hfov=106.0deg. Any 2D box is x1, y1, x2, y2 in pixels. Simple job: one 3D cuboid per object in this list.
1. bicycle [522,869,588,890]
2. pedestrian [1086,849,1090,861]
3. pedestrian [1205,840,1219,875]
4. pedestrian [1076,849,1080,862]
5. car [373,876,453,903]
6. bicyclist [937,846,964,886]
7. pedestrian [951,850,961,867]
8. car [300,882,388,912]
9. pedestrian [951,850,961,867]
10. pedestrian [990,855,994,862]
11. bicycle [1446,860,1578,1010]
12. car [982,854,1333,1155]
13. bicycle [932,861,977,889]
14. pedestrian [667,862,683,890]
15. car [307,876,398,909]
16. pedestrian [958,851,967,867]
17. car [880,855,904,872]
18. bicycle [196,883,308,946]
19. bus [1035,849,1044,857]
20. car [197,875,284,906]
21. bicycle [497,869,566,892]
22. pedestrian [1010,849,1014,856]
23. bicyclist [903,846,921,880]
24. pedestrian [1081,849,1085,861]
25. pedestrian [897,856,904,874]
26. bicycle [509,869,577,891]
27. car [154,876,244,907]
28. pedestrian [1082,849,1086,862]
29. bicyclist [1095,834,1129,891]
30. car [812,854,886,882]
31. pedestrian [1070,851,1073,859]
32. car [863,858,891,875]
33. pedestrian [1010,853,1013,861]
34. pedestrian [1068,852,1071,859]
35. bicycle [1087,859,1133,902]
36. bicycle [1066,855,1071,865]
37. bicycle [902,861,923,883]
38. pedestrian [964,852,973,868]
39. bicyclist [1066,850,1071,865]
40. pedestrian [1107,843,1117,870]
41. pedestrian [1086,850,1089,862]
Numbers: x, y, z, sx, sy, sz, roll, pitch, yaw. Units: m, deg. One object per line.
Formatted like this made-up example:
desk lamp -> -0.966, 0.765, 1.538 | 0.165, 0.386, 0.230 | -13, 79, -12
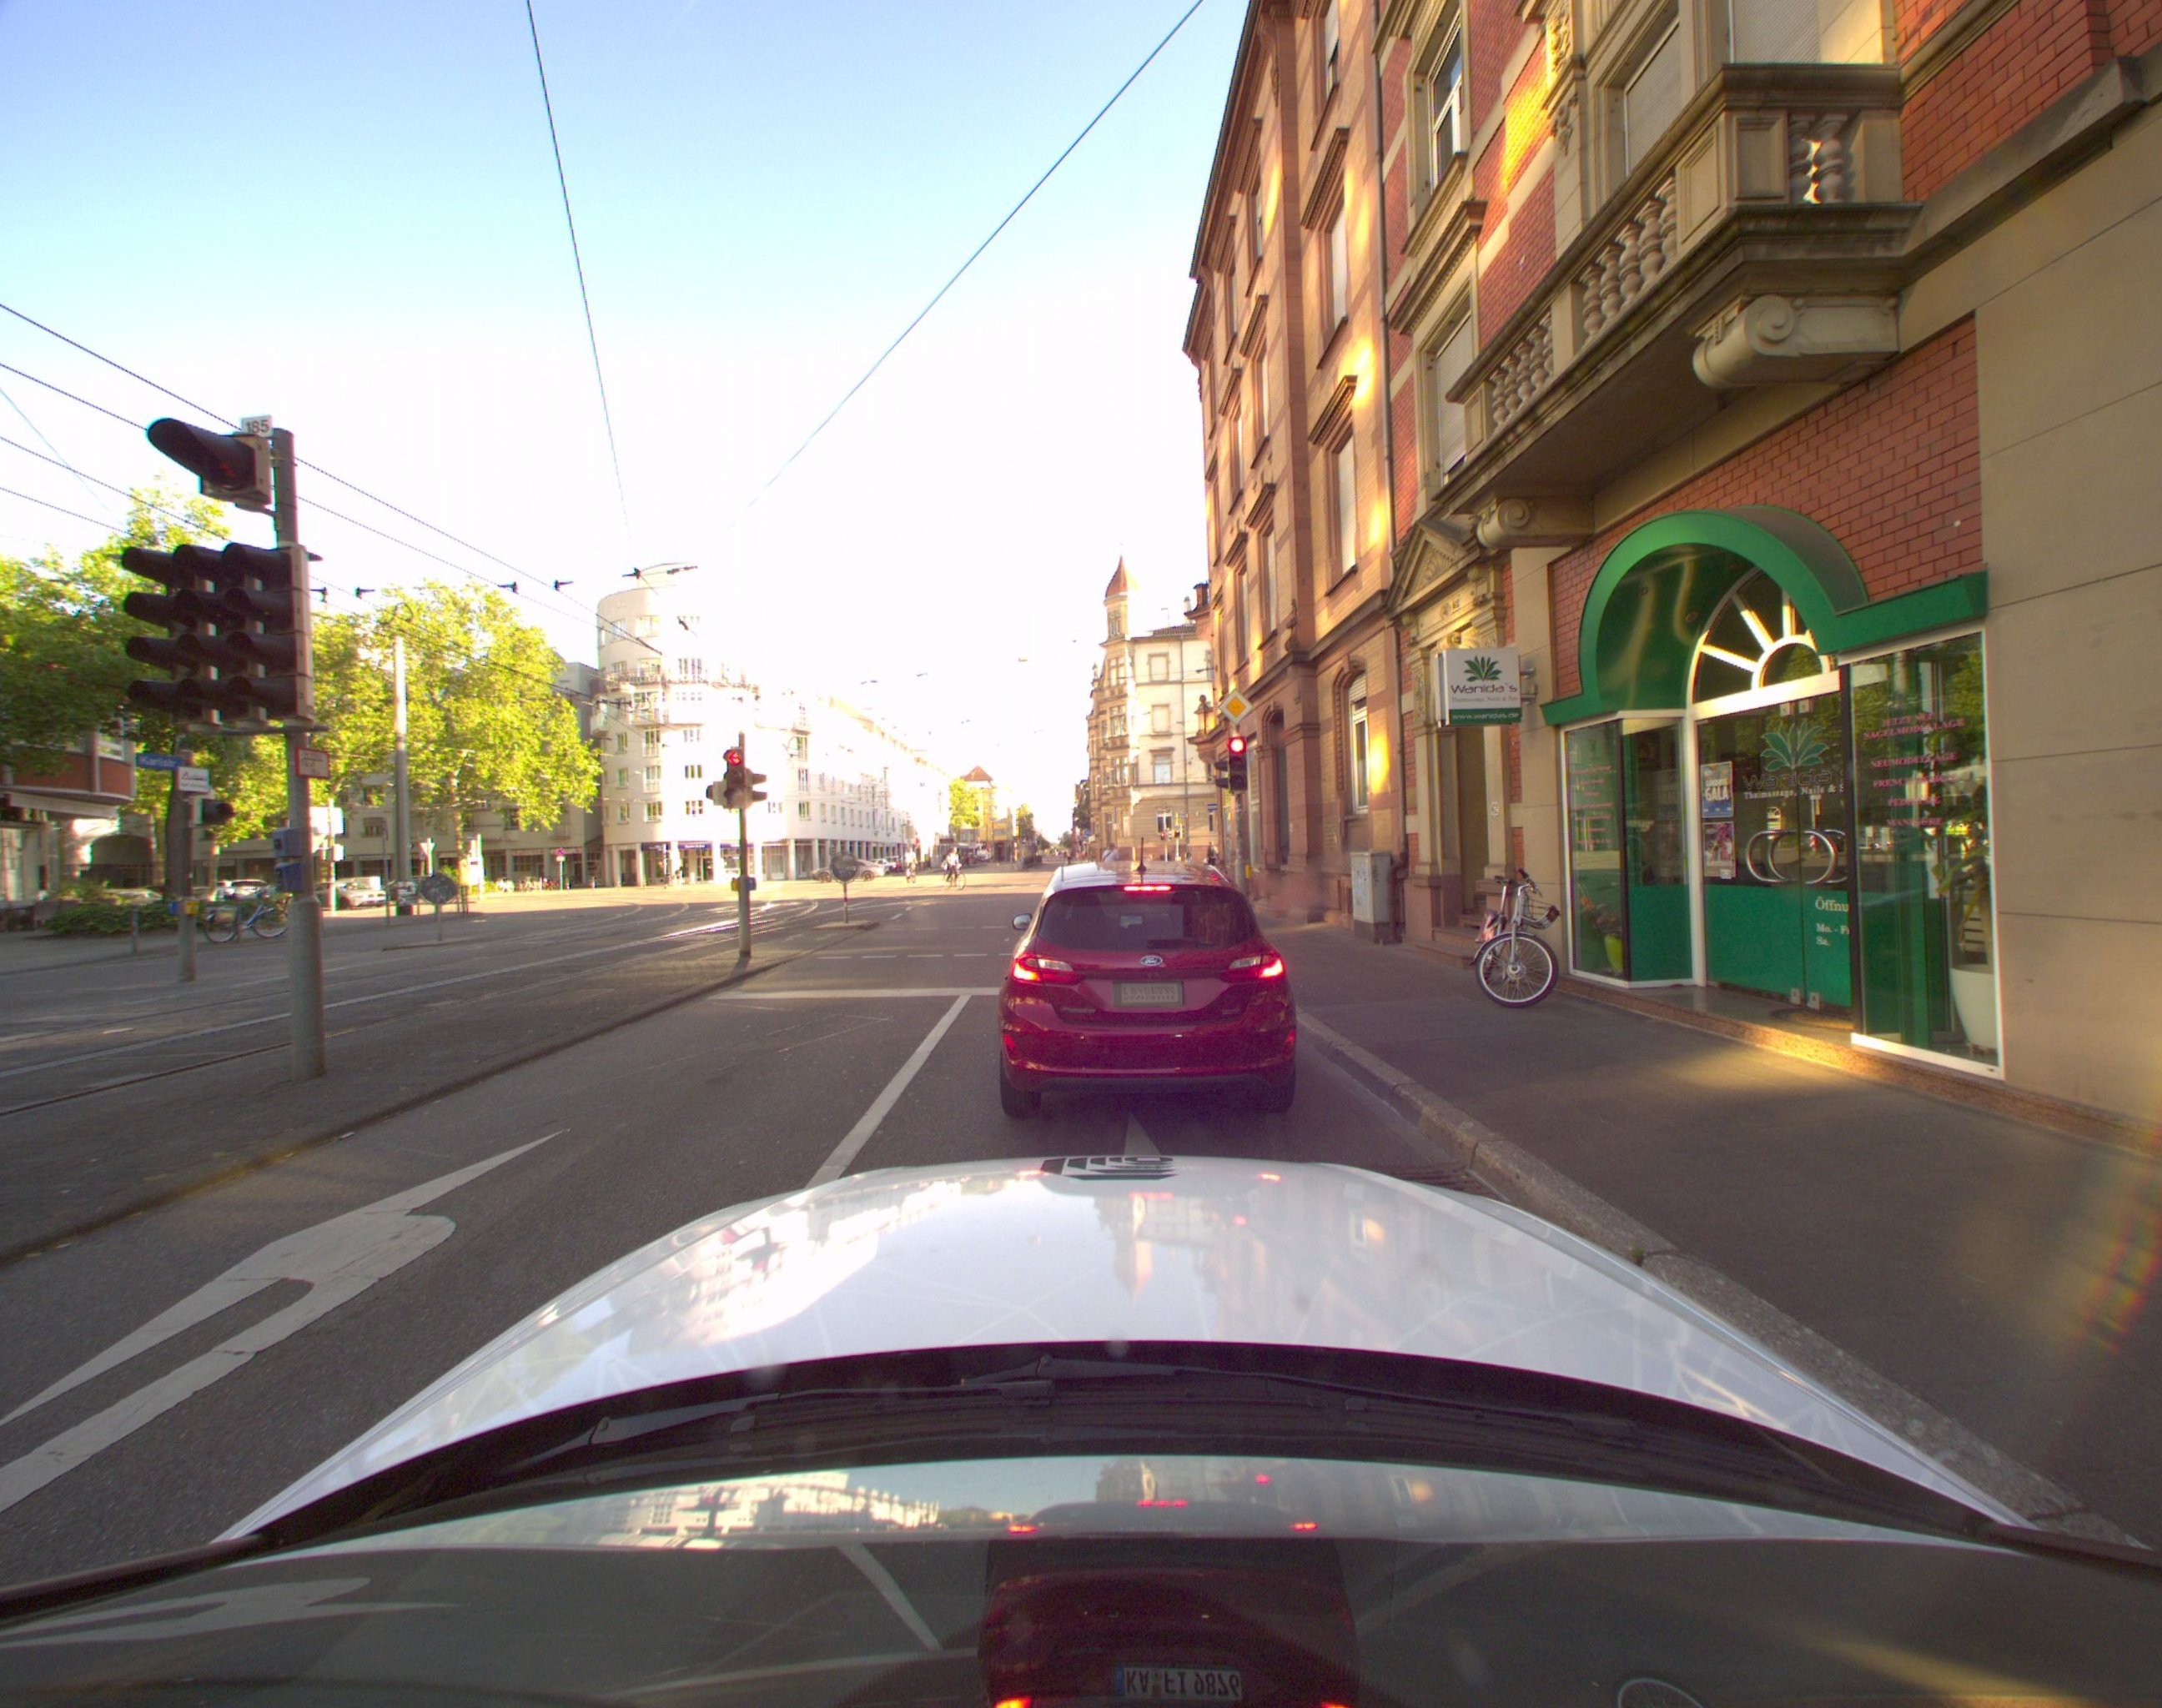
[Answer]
bicycle -> -42.856, 2.061, 66.428 | 4.685, 1.530, 1.067 | -2, 0, 2
pedestrian -> 1.155, 0.183, 134.632 | 0.574, 2.013, 0.632 | -2, 0, 5
pedestrian -> 6.608, 0.172, 41.134 | 0.558, 1.755, 0.650 | -3, 0, 1
pedestrian -> -0.525, 0.255, 136.298 | 0.574, 2.013, 0.632 | -2, 0, 5
car -> -44.185, 2.324, 53.923 | 3.969, 1.531, 1.618 | -2, 0, 4
bicyclist -> -5.647, 0.518, 35.234 | 0.784, 1.726, 0.815 | -2, 0, 42
pedestrian -> -15.549, 0.571, 101.120 | 0.953, 2.013, 1.048 | -2, 0, -1
car -> -36.926, 2.155, 40.806 | 3.968, 1.295, 1.781 | -2, 0, 24
pedestrian -> -15.854, 0.574, 103.442 | 1.043, 2.013, 0.958 | -2, 0, -3
pedestrian -> -18.041, 0.869, 164.948 | 0.579, 1.488, 0.525 | -2, 0, -3
bicycle -> 3.868, 0.677, 7.442 | 0.710, 1.152, 1.662 | -4, 0, 17
car -> 0.307, 0.741, 6.037 | 1.750, 1.466, 3.941 | -1, 0, -3
bicycle -> -5.470, 0.918, 35.098 | 2.023, 1.147, 0.815 | -2, 0, 43
pedestrian -> -29.746, 1.603, 59.649 | 0.949, 2.013, 0.931 | -2, 0, -29
car -> -40.248, 2.121, 45.039 | 3.978, 1.559, 1.636 | -2, 0, 11
pedestrian -> -15.320, 0.641, 105.581 | 1.043, 2.013, 0.958 | -2, 0, -3
car -> -20.426, 1.028, 88.098 | 1.696, 1.718, 3.562 | -2, 0, -1
bicycle -> -19.757, 1.411, 19.466 | 0.668, 1.327, 1.907 | 1, 0, 2
bus -> -11.084, -0.324, 217.635 | 1.919, 2.013, 7.137 | -2, 0, 1
car -> -60.411, 2.602, 58.603 | 1.986, 1.964, 4.001 | -2, 0, 1
bicycle -> -43.013, 2.071, 63.739 | 4.685, 1.530, 1.067 | -2, 0, 2
pedestrian -> -16.755, -0.325, 197.483 | 0.630, 1.604, 0.575 | -2, 0, -18
bicyclist -> -9.461, 0.510, 45.593 | 0.810, 1.821, 0.986 | -2, 0, -21
pedestrian -> 0.279, 0.205, 136.352 | 0.574, 2.013, 0.632 | -2, 0, 5
pedestrian -> -16.450, 0.994, 74.157 | 0.524, 1.681, 0.484 | -2, 0, -8
bicycle -> -42.852, 2.052, 64.876 | 4.685, 1.530, 1.067 | -2, 0, 2
car -> -63.330, 2.693, 58.587 | 1.986, 1.964, 4.001 | -2, 0, 1
pedestrian -> 0.504, 0.211, 131.148 | 0.574, 2.013, 0.632 | -2, 0, 5
bicyclist -> 0.893, 0.249, 23.715 | 0.756, 1.627, 0.736 | -1, -1, 23
car -> -15.230, 0.909, 53.666 | 4.445, 1.641, 1.698 | -2, 0, -11
pedestrian -> -2.320, 0.270, 200.785 | 0.575, 1.887, 0.630 | -2, 0, -1
car -> -20.158, 1.222, 80.569 | 1.760, 1.546, 3.460 | -2, 0, 0
pedestrian -> -13.863, 0.606, 162.184 | 0.522, 1.488, 0.583 | -2, 0, 1
pedestrian -> -2.826, 0.347, 204.124 | 0.575, 1.887, 0.669 | -2, 0, -1
bicycle -> 0.877, 0.750, 23.667 | 0.621, 1.177, 2.036 | -1, 0, 23
bicycle -> -1.489, 0.701, 96.825 | 0.524, 1.089, 1.487 | -2, 0, 1
bicycle -> -9.495, 0.988, 45.752 | 0.810, 1.147, 1.996 | -2, 0, -20
pedestrian -> -14.266, 0.723, 103.189 | 1.043, 2.013, 0.958 | -2, 0, -3
bicyclist -> -1.517, 0.408, 96.665 | 0.498, 1.676, 0.545 | -2, 0, 0
pedestrian -> 2.434, 0.204, 63.193 | 0.649, 2.013, 0.759 | -2, 0, -2
pedestrian -> 1.026, 0.317, 121.938 | 0.412, 1.680, 0.485 | -2, 0, 1
